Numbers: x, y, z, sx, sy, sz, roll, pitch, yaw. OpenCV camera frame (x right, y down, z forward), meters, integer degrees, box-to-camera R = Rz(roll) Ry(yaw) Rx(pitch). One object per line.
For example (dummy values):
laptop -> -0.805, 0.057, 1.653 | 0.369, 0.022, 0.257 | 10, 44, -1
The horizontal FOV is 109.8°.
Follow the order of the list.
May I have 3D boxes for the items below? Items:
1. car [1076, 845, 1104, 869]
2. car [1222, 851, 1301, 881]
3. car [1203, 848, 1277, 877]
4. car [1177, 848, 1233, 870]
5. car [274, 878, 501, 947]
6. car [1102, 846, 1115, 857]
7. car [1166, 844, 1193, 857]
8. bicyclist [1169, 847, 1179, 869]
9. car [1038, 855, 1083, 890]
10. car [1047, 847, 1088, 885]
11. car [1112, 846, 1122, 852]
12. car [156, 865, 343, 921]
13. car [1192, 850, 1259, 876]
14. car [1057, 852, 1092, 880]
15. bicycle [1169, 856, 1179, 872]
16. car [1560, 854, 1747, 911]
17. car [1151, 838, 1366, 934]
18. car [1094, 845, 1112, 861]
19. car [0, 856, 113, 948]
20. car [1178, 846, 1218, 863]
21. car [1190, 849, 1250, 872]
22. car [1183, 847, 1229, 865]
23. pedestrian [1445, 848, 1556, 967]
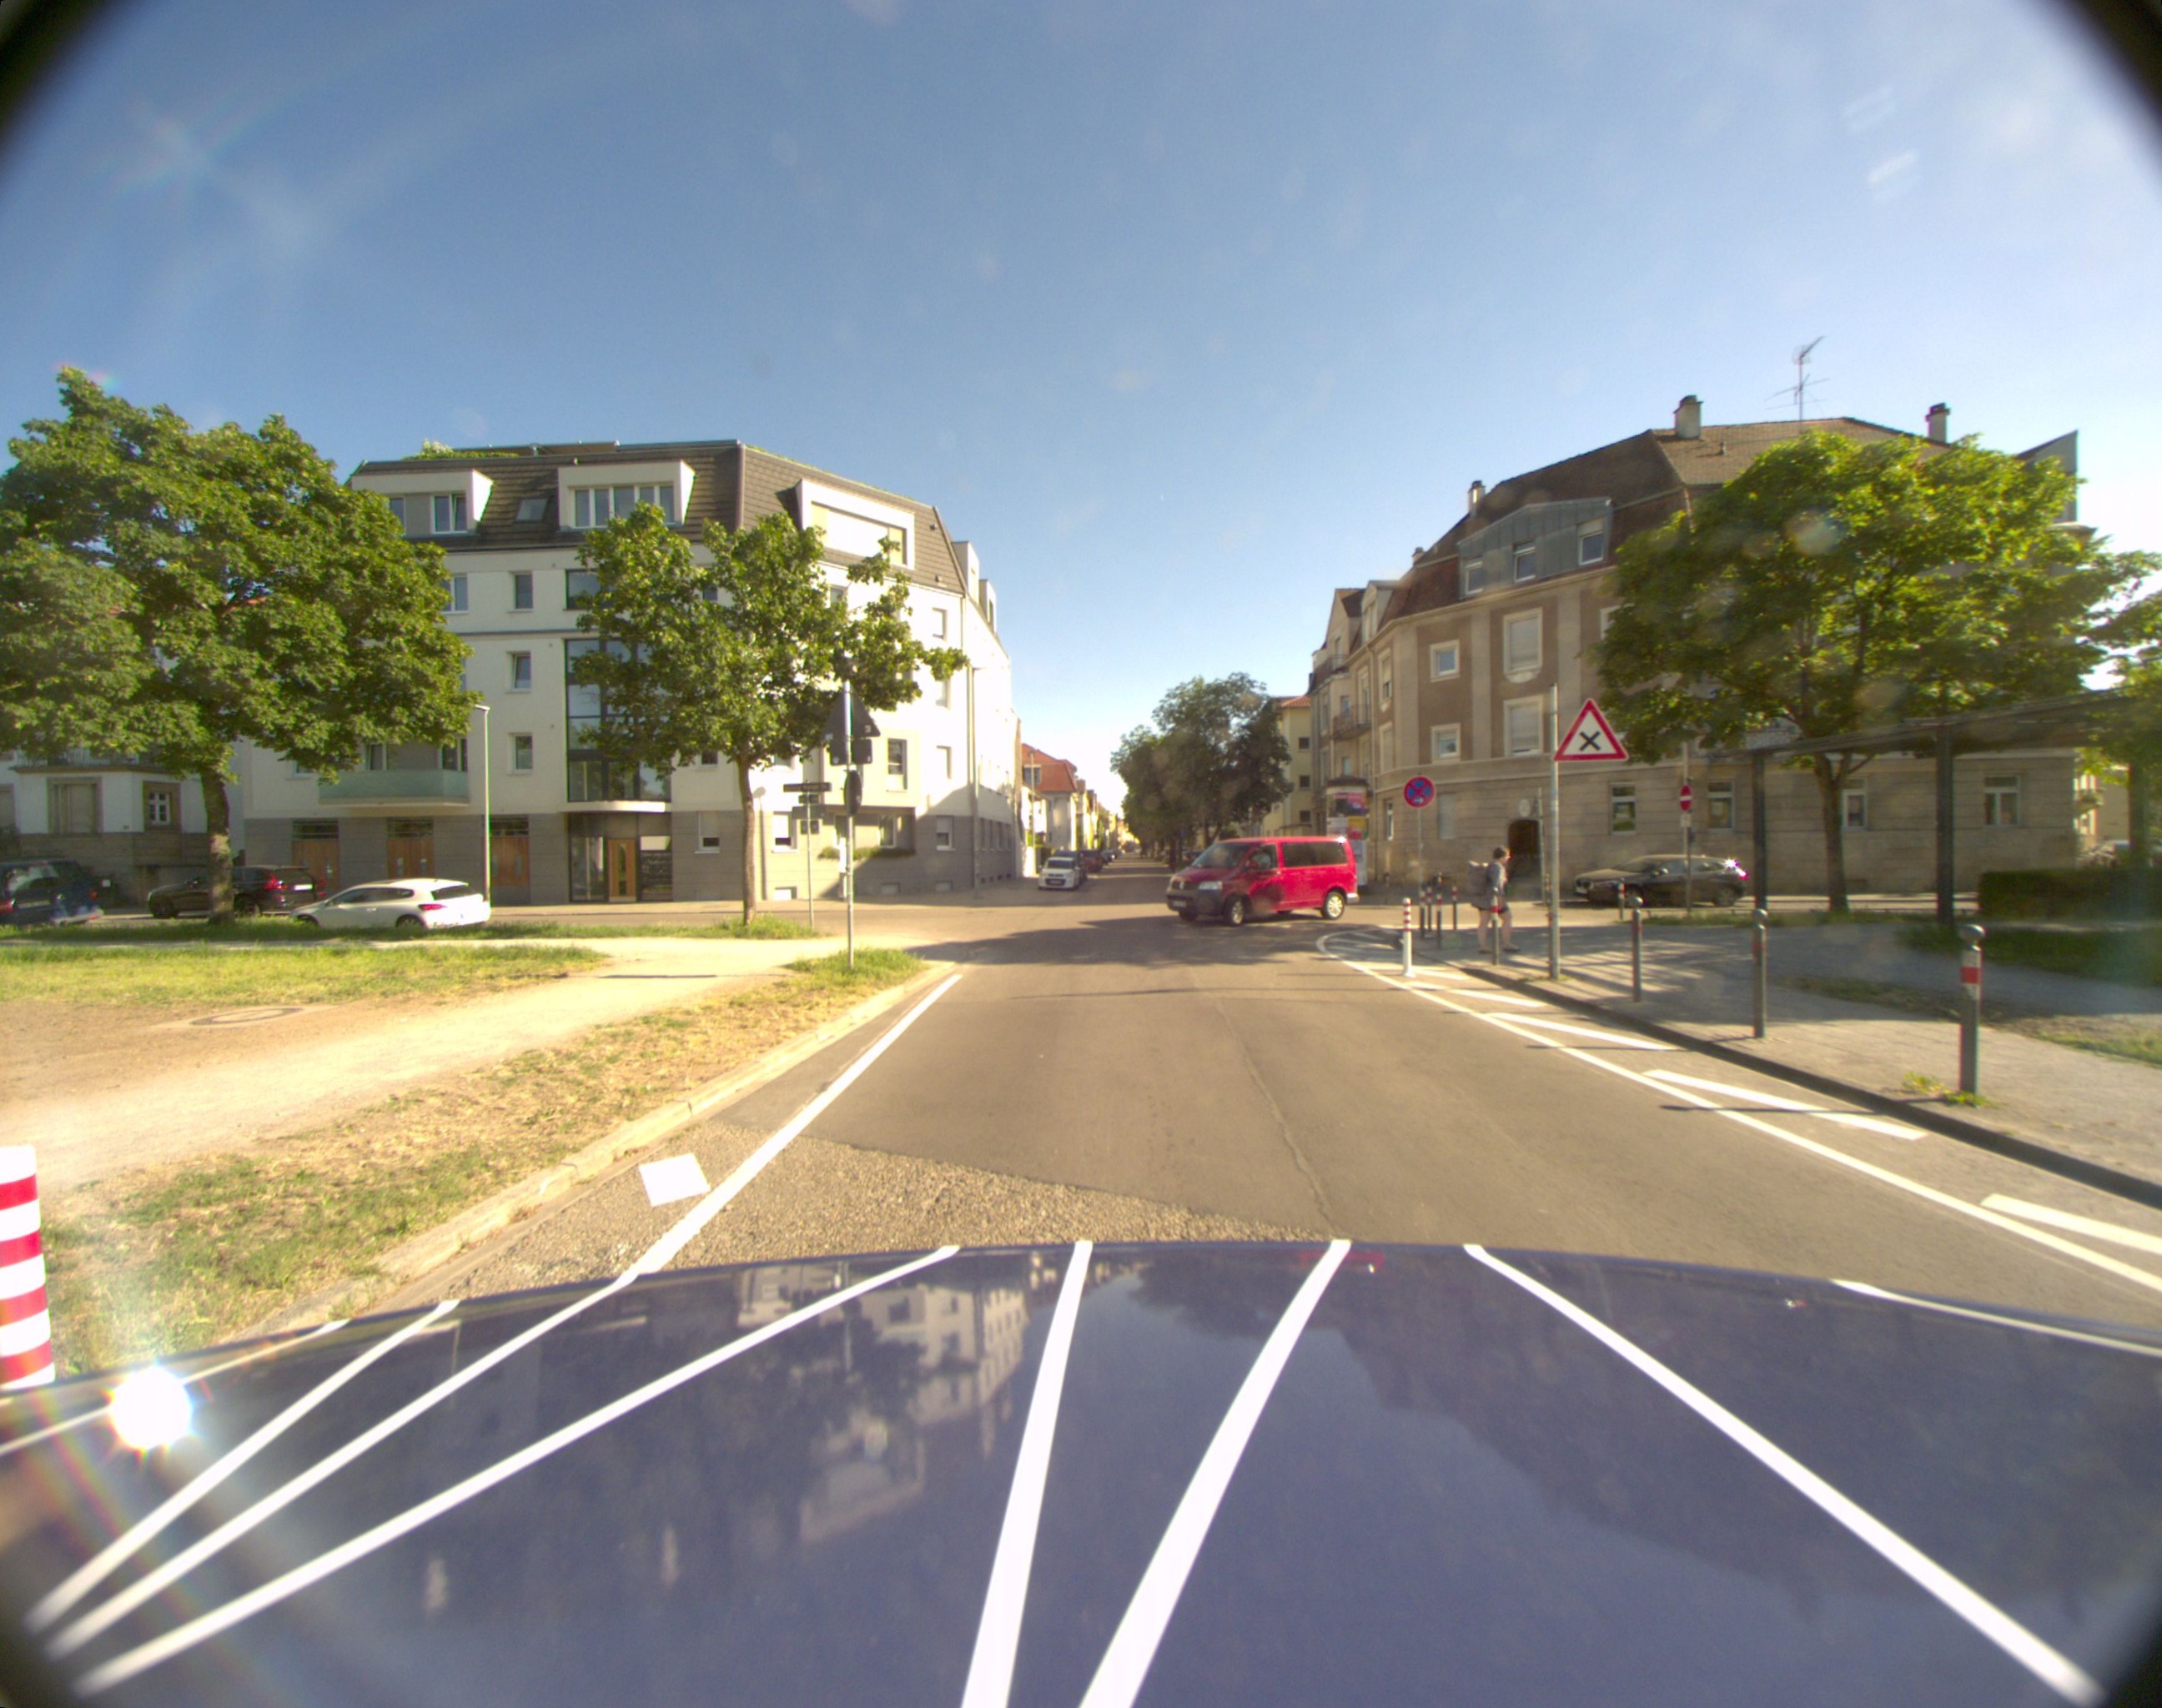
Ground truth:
car -> 0.749, 0.216, 61.305 | 1.883, 1.860, 4.402 | 2, 1, 4
car -> 9.569, 0.609, 40.468 | 3.788, 1.436, 1.692 | -2, 1, 1
car -> 8.901, 0.464, 42.696 | 3.788, 1.486, 1.692 | -2, 1, 1
car -> 9.305, 0.352, 57.186 | 3.791, 1.486, 1.691 | -2, 1, -9
car -> -16.944, 1.400, 18.696 | 3.990, 1.426, 1.739 | -1, 5, 4
car -> 4.298, -0.395, 117.107 | 1.883, 1.734, 4.403 | 0, 0, 4
car -> 13.642, -0.543, 105.284 | 3.527, 1.693, 1.692 | -2, 1, 2
bicyclist -> 6.706, 0.291, 54.898 | 0.644, 1.610, 0.637 | -1, 1, 5
car -> -0.893, 0.822, 35.097 | 1.664, 1.440, 3.689 | 2, 1, 4
car -> -0.651, 0.588, 39.554 | 1.664, 1.825, 4.257 | 2, 1, 4
car -> 7.944, -1.086, 167.143 | 1.883, 1.427, 4.348 | 0, 0, 4
car -> -27.533, 1.273, 25.249 | 4.284, 1.673, 1.896 | -1, 2, 5
car -> 9.039, 0.554, 47.654 | 3.791, 1.486, 1.691 | -2, 1, -9
car -> -0.353, 0.679, 44.953 | 1.664, 1.533, 4.067 | 2, 1, 4
bicycle -> 6.712, 0.740, 54.904 | 0.644, 1.102, 2.066 | -1, 1, 5
car -> 16.697, 0.798, 22.324 | 4.011, 1.476, 1.867 | -1, 4, 1
car -> 4.245, 0.642, 18.010 | 4.893, 1.950, 1.892 | -2, 3, -27
car -> 2.660, -0.107, 90.813 | 1.883, 1.860, 4.403 | 0, 0, 4
car -> -27.525, 1.165, 19.156 | 3.989, 2.073, 1.783 | -1, 5, 5
car -> 11.205, 0.028, 72.872 | 3.528, 1.486, 1.692 | -2, 1, -1
car -> 9.800, 0.426, 53.818 | 3.791, 1.486, 1.691 | -2, 1, -9
car -> 11.288, 0.134, 68.598 | 3.789, 1.486, 1.692 | -2, 1, -1
pedestrian -> 6.388, 0.771, 11.613 | 1.090, 1.665, 0.912 | -4, 2, -13
